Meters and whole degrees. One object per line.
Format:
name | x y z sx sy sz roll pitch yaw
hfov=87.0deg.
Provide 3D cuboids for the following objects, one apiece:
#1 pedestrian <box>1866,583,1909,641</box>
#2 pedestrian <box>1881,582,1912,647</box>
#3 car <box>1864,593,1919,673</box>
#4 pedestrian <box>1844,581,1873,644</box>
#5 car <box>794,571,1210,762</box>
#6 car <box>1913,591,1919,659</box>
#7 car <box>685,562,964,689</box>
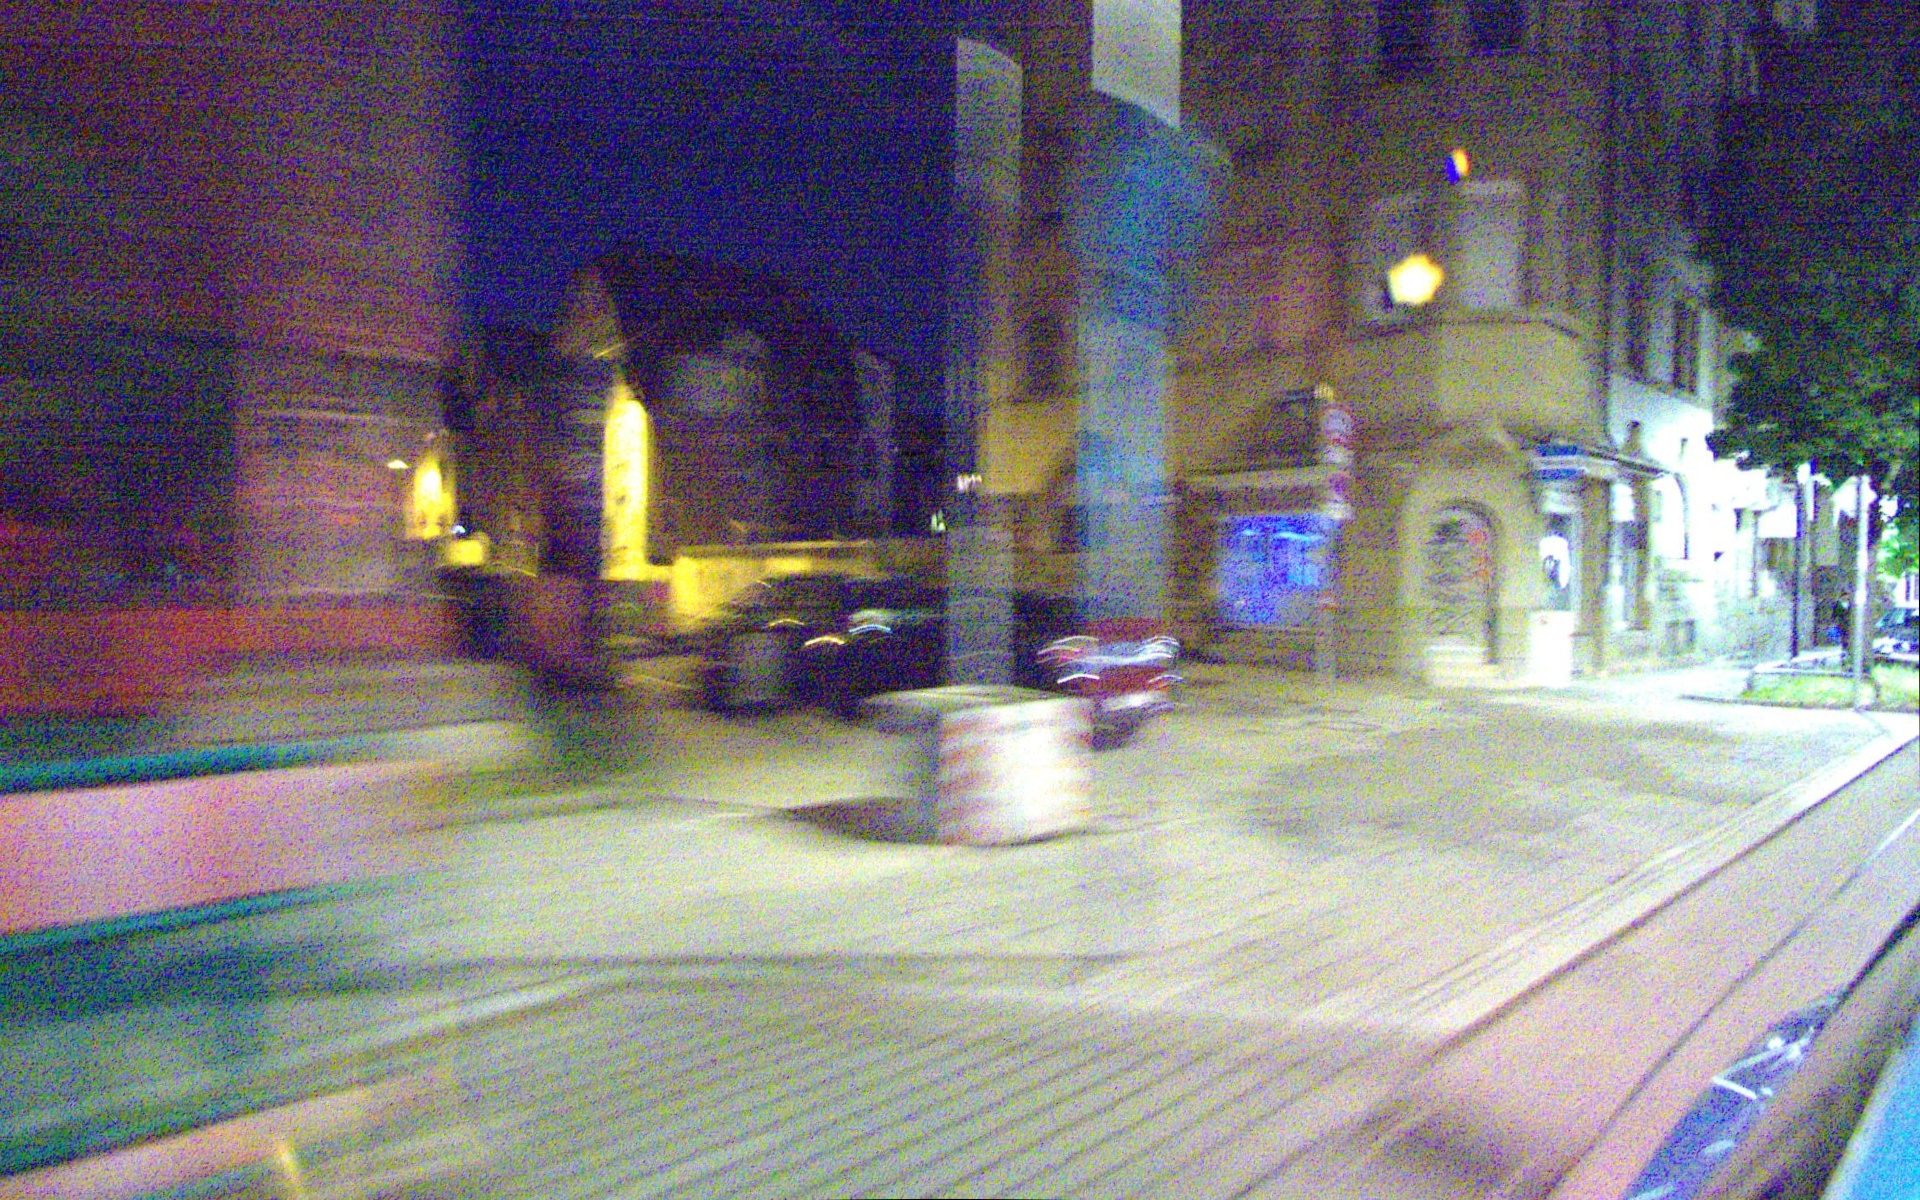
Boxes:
pedestrian | 26.947 0.336 29.408 0.949 1.651 0.809 0 0 -39
pedestrian | 25.494 0.382 27.558 0.692 1.730 0.508 0 1 -40
car | 19.473 0.625 19.991 3.927 1.472 1.741 0 2 -38
pedestrian | 24.998 0.348 28.160 0.561 1.730 0.477 0 1 -39
car | 0.230 0.453 9.932 1.820 1.439 4.021 -2 3 -41
car | 23.448 0.600 23.312 4.390 1.519 1.736 0 3 -42
car | -2.039 0.242 14.317 1.821 1.486 4.197 0 2 -43
